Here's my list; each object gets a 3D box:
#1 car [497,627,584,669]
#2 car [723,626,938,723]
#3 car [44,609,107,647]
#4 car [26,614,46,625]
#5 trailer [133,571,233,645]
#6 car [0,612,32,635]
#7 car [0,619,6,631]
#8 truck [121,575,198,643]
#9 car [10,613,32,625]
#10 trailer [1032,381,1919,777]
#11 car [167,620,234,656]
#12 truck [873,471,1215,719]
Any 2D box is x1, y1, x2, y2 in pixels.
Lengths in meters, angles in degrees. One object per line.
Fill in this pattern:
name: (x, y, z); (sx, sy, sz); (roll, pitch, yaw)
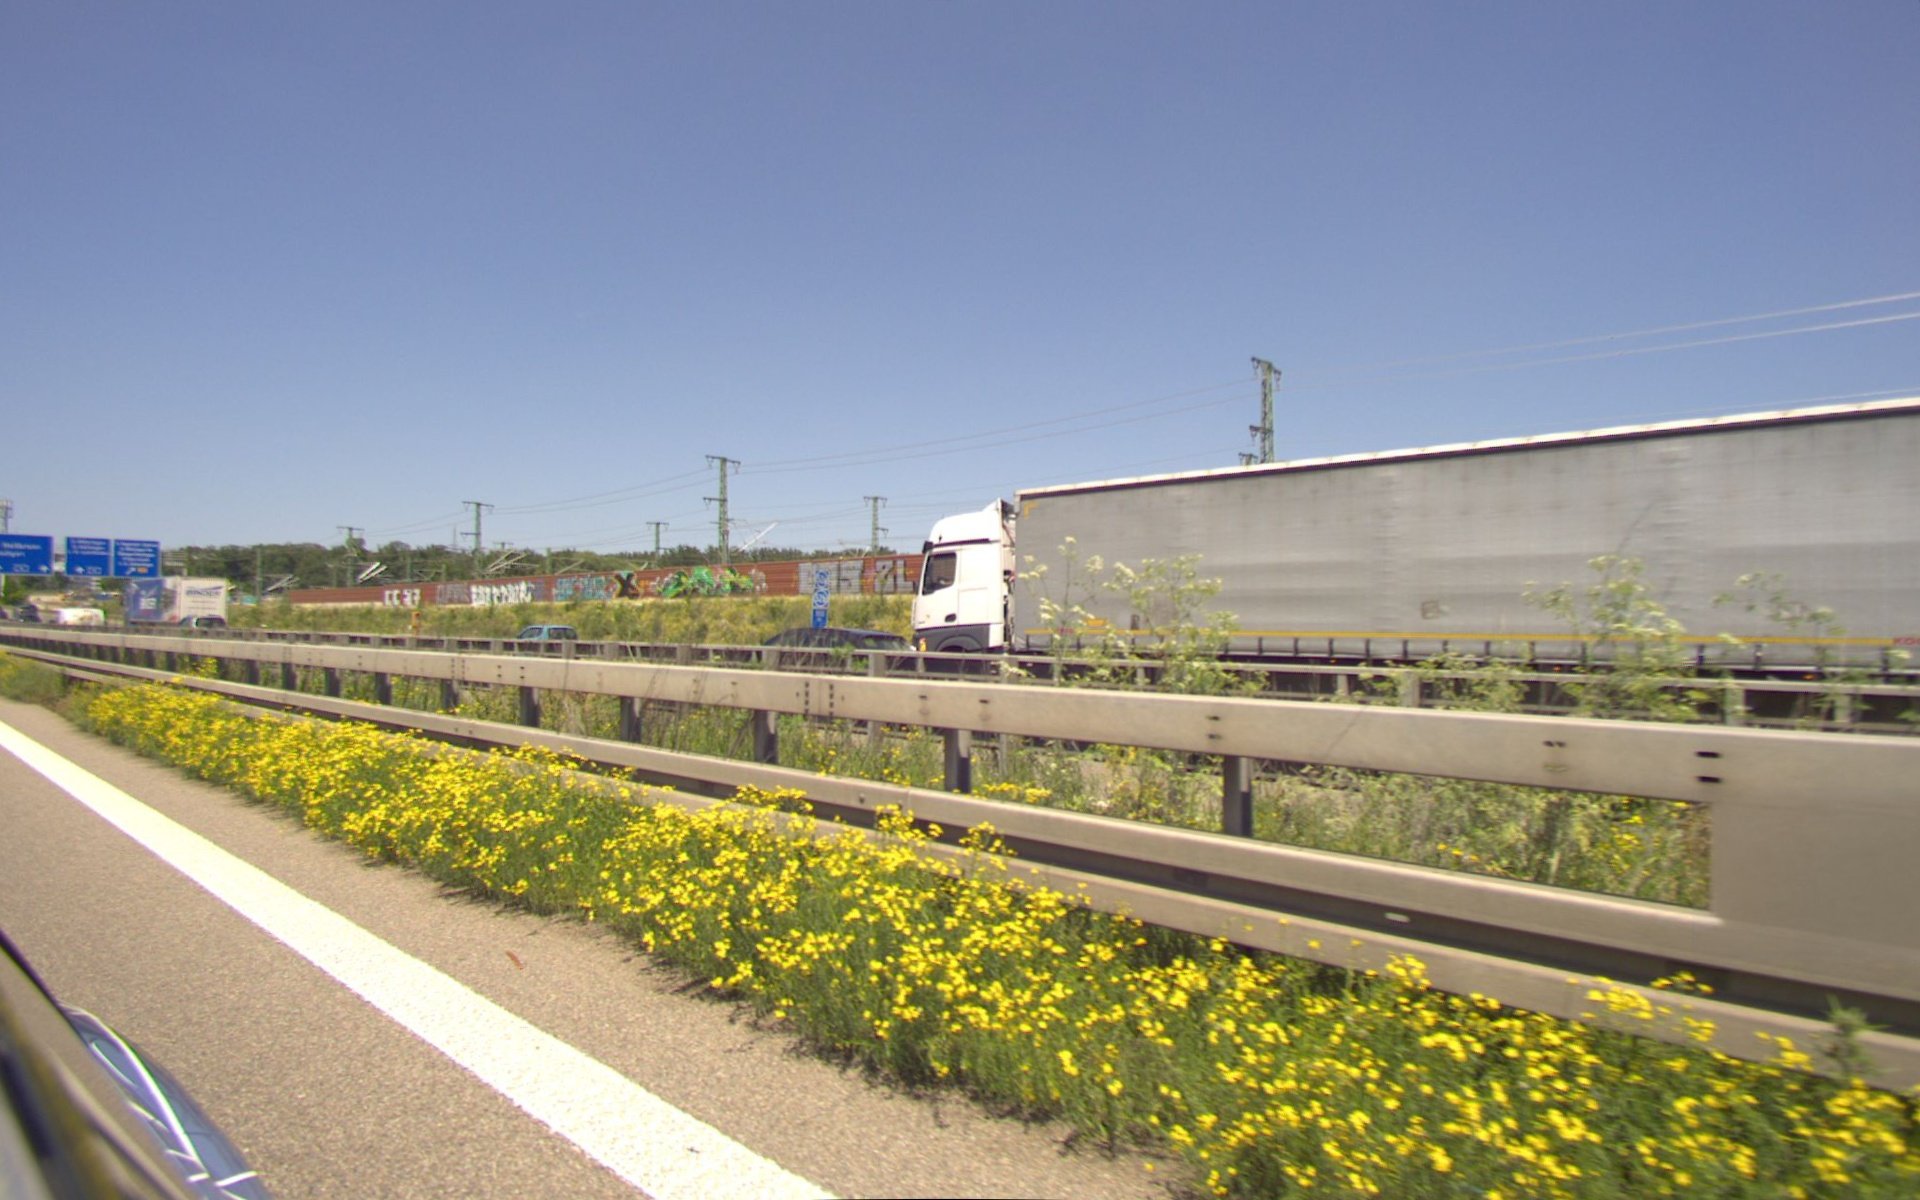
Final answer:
car: (-16.766, 1.882, 40.420); (3.834, 1.531, 1.735); (-1, -1, 42)
car: (-2.335, 1.216, 17.671); (3.835, 1.473, 1.627); (-1, -1, 42)
car: (-43.494, 1.347, 49.722); (4.536, 1.798, 1.797); (-1, -1, 42)
car: (-148.500, 3.165, 162.680); (4.512, 1.739, 1.972); (-1, 0, 42)
trailer: (-50.865, 0.595, 66.049); (12.086, 4.441, 2.858); (-1, -2, 42)
car: (-72.261, 1.766, 77.238); (4.191, 1.646, 1.701); (0, 1, 41)
car: (-128.699, 3.338, 134.808); (3.930, 1.498, 1.972); (0, -2, 41)
truck: (-55.692, 0.687, 70.330); (7.500, 4.441, 2.858); (-1, -2, 41)
car: (-138.408, 2.739, 149.171); (4.511, 1.739, 1.973); (-1, 0, 41)
trailer: (7.231, -0.124, 14.688); (13.524, 4.105, 2.701); (-1, -2, 42)
car: (-37.089, 1.839, 49.404); (4.360, 1.660, 1.797); (-1, -1, 42)
truck: (1.464, -0.014, 19.849); (6.379, 4.103, 2.701); (-1, -2, 42)
